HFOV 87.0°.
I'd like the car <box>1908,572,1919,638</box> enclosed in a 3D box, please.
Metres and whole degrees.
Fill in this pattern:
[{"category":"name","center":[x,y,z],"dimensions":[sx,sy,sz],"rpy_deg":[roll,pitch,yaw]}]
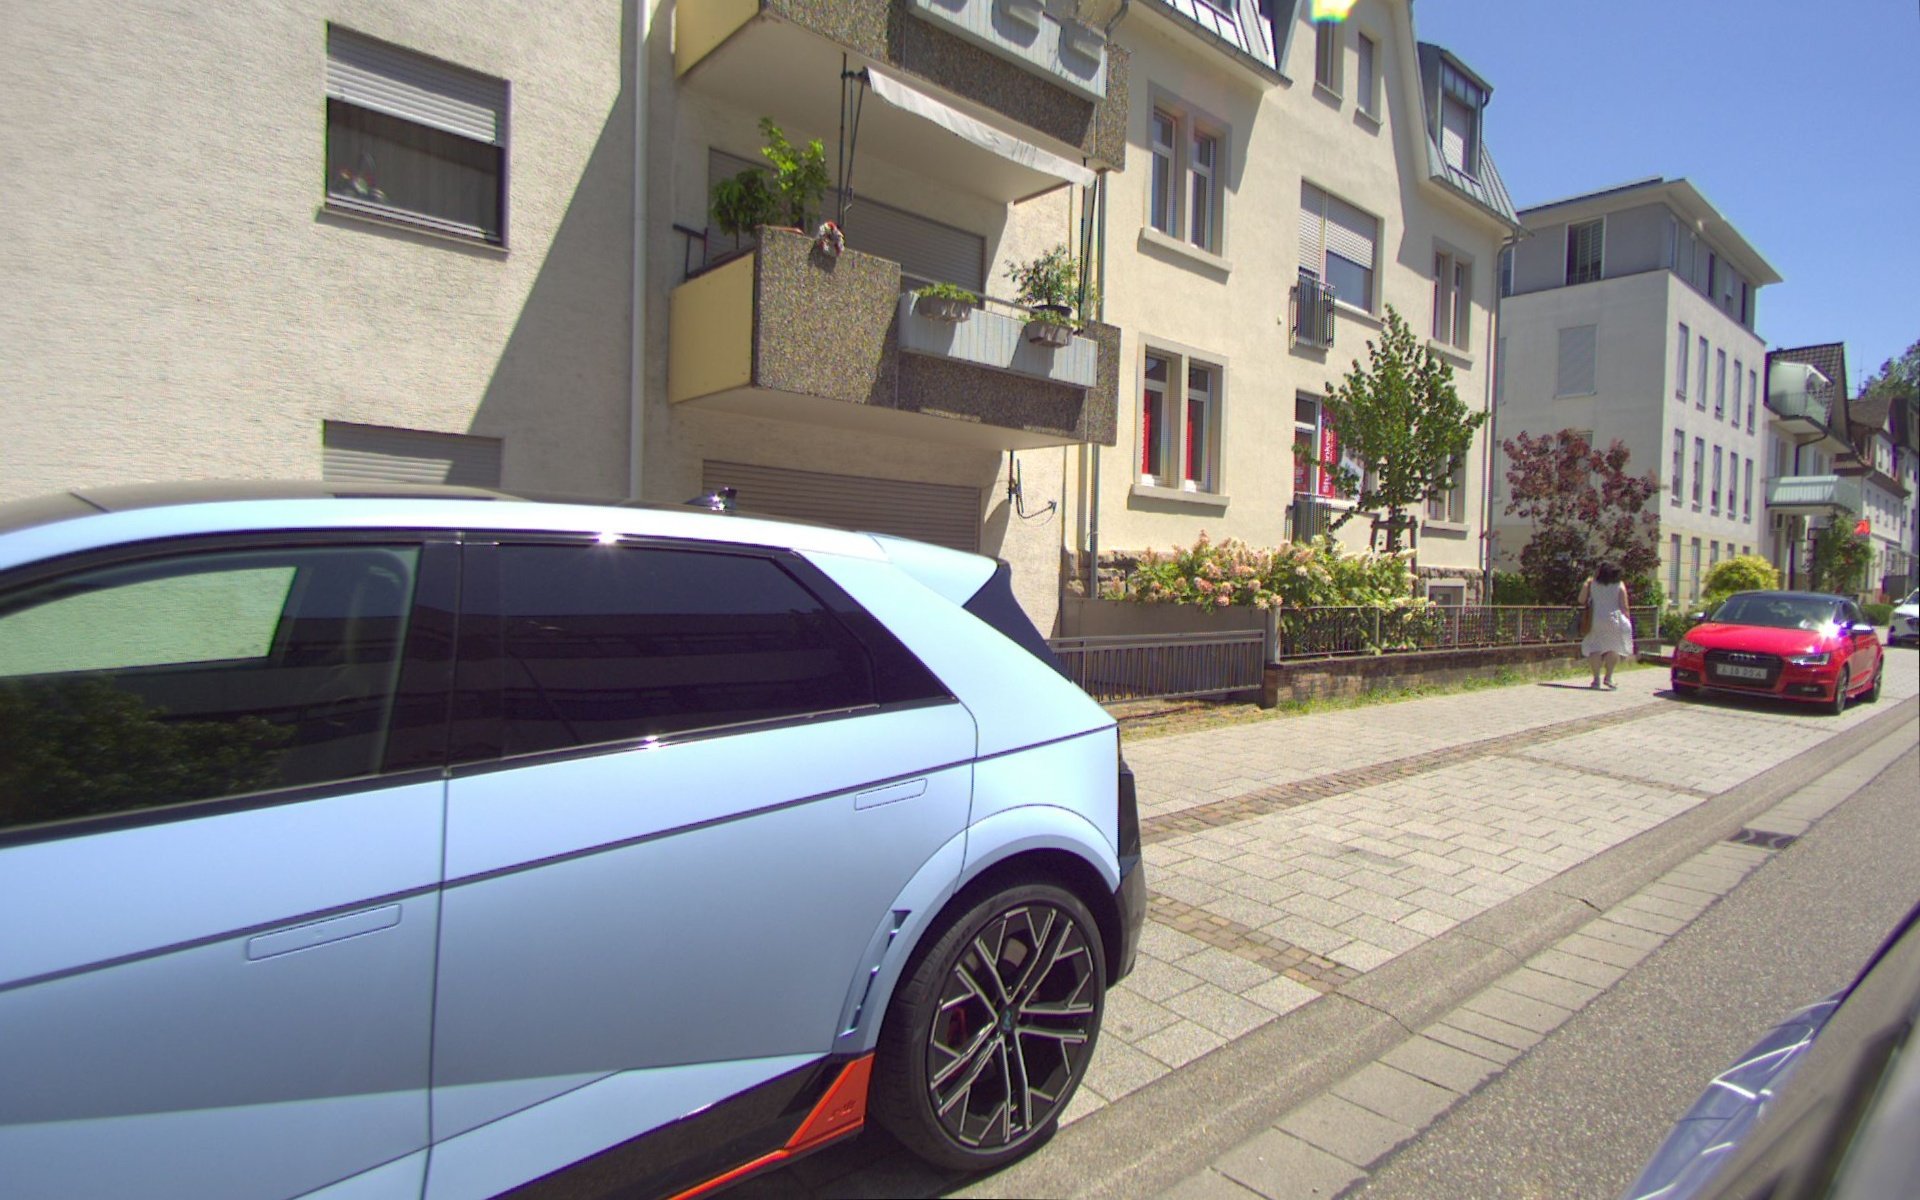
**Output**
[{"category":"car","center":[26.855,0.188,26.976],"dimensions":[4.499,1.685,1.710],"rpy_deg":[-1,6,-40]}]

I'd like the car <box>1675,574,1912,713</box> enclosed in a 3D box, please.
[{"category":"car","center":[10.953,0.469,13.223],"dimensions":[3.784,1.458,1.608],"rpy_deg":[0,5,-40]}]

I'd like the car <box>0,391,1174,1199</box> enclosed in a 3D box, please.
[{"category":"car","center":[-1.697,0.496,2.063],"dimensions":[4.349,1.639,1.848],"rpy_deg":[0,4,-40]}]

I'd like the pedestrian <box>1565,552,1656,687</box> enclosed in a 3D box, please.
[{"category":"pedestrian","center":[8.584,0.238,13.355],"dimensions":[0.694,1.689,0.742],"rpy_deg":[0,4,-42]}]
